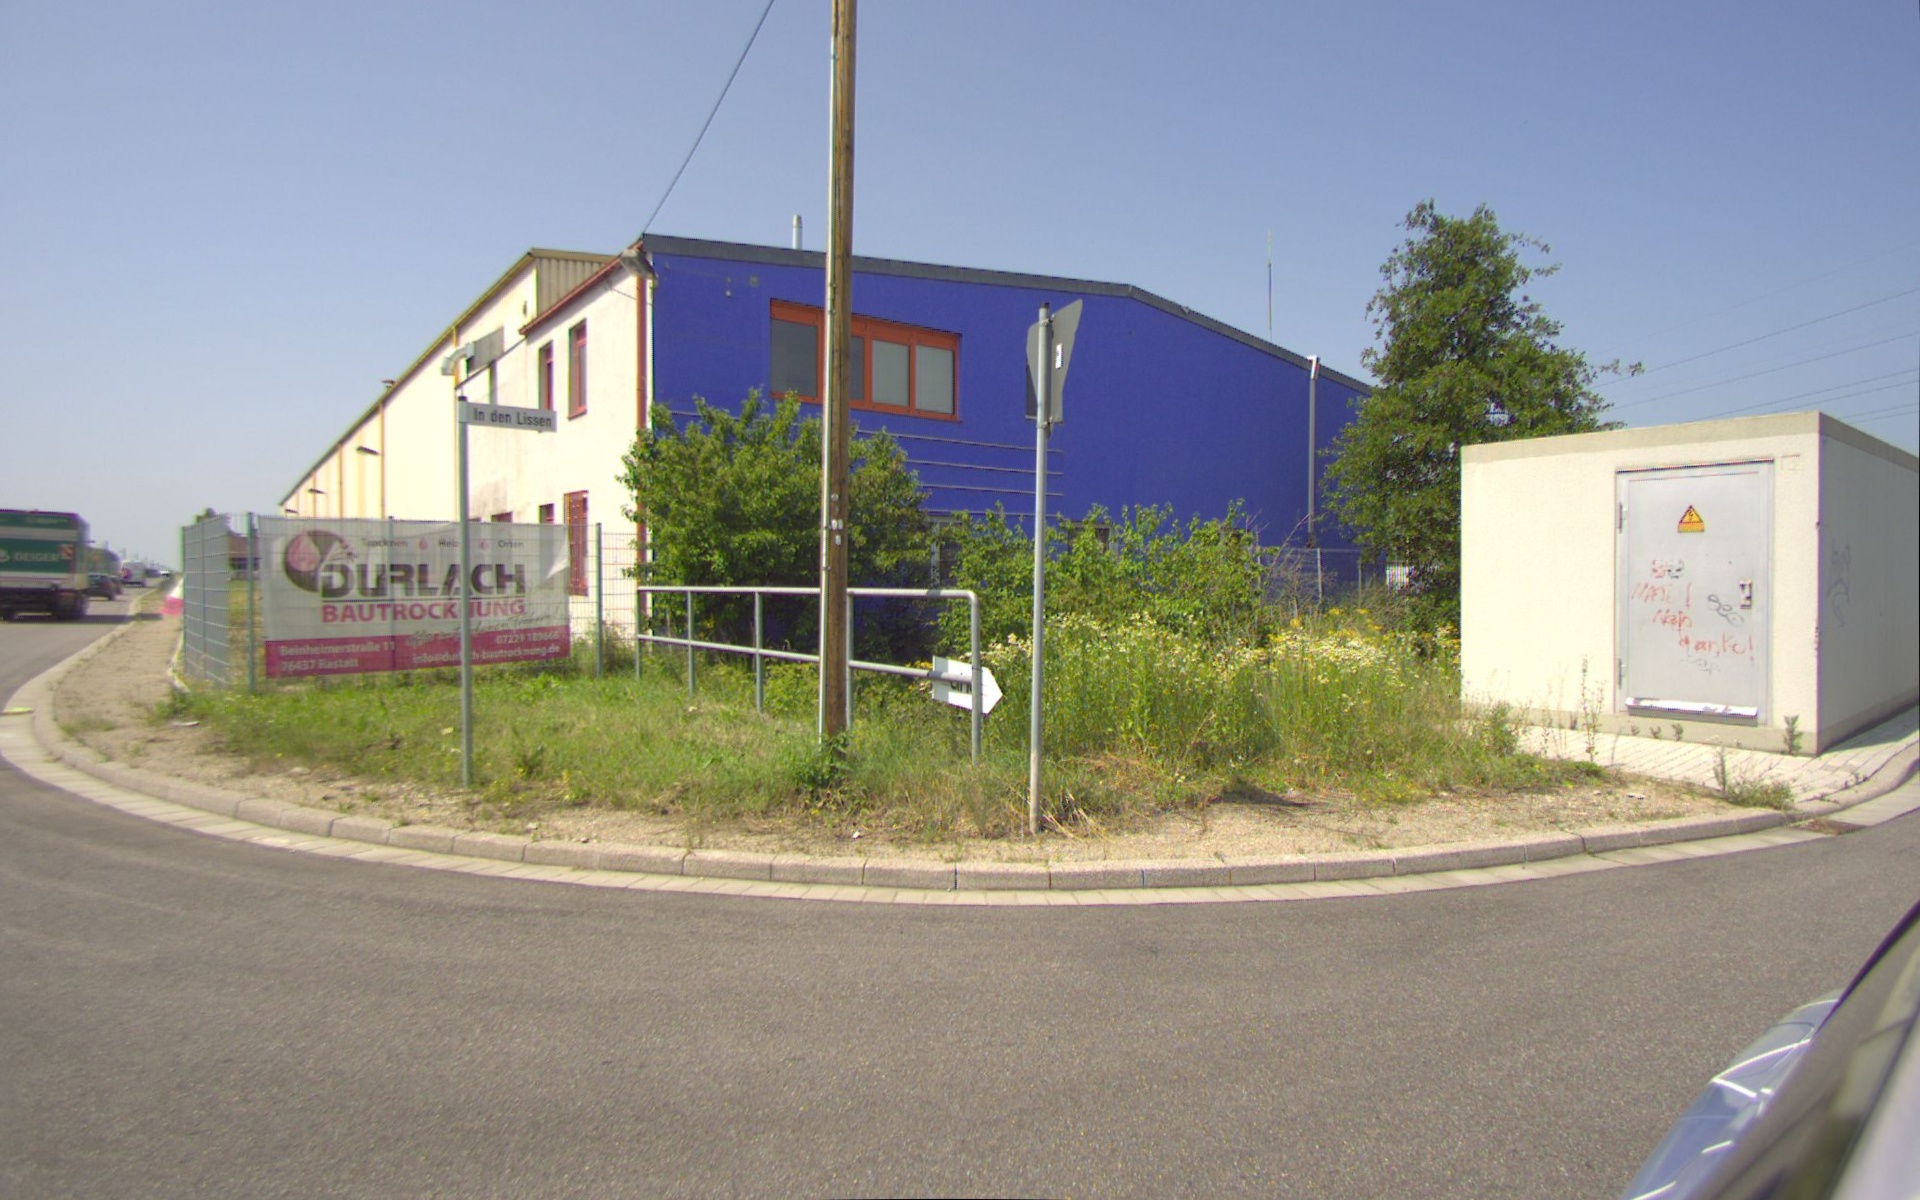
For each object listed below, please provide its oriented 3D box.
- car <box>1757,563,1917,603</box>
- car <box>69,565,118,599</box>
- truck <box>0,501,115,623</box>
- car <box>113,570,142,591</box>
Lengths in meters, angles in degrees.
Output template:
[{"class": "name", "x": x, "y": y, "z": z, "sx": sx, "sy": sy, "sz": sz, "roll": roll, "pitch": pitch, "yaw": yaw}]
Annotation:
[{"class": "car", "x": 33.646, "y": -0.624, "z": 39.025, "sx": 4.554, "sy": 1.445, "sz": 1.972, "roll": 0, "pitch": 0, "yaw": 40}, {"class": "car", "x": -52.605, "y": -1.068, "z": 61.490, "sx": 1.963, "sy": 2.039, "sz": 3.998, "roll": 0, "pitch": 0, "yaw": -36}, {"class": "truck", "x": -34.052, "y": -1.316, "z": 37.403, "sx": 3.499, "sy": 3.926, "sz": 11.412, "roll": 0, "pitch": 1, "yaw": -36}, {"class": "car", "x": -82.961, "y": -1.904, "z": 100.839, "sx": 1.963, "sy": 2.039, "sz": 3.999, "roll": -1, "pitch": 1, "yaw": -36}]
